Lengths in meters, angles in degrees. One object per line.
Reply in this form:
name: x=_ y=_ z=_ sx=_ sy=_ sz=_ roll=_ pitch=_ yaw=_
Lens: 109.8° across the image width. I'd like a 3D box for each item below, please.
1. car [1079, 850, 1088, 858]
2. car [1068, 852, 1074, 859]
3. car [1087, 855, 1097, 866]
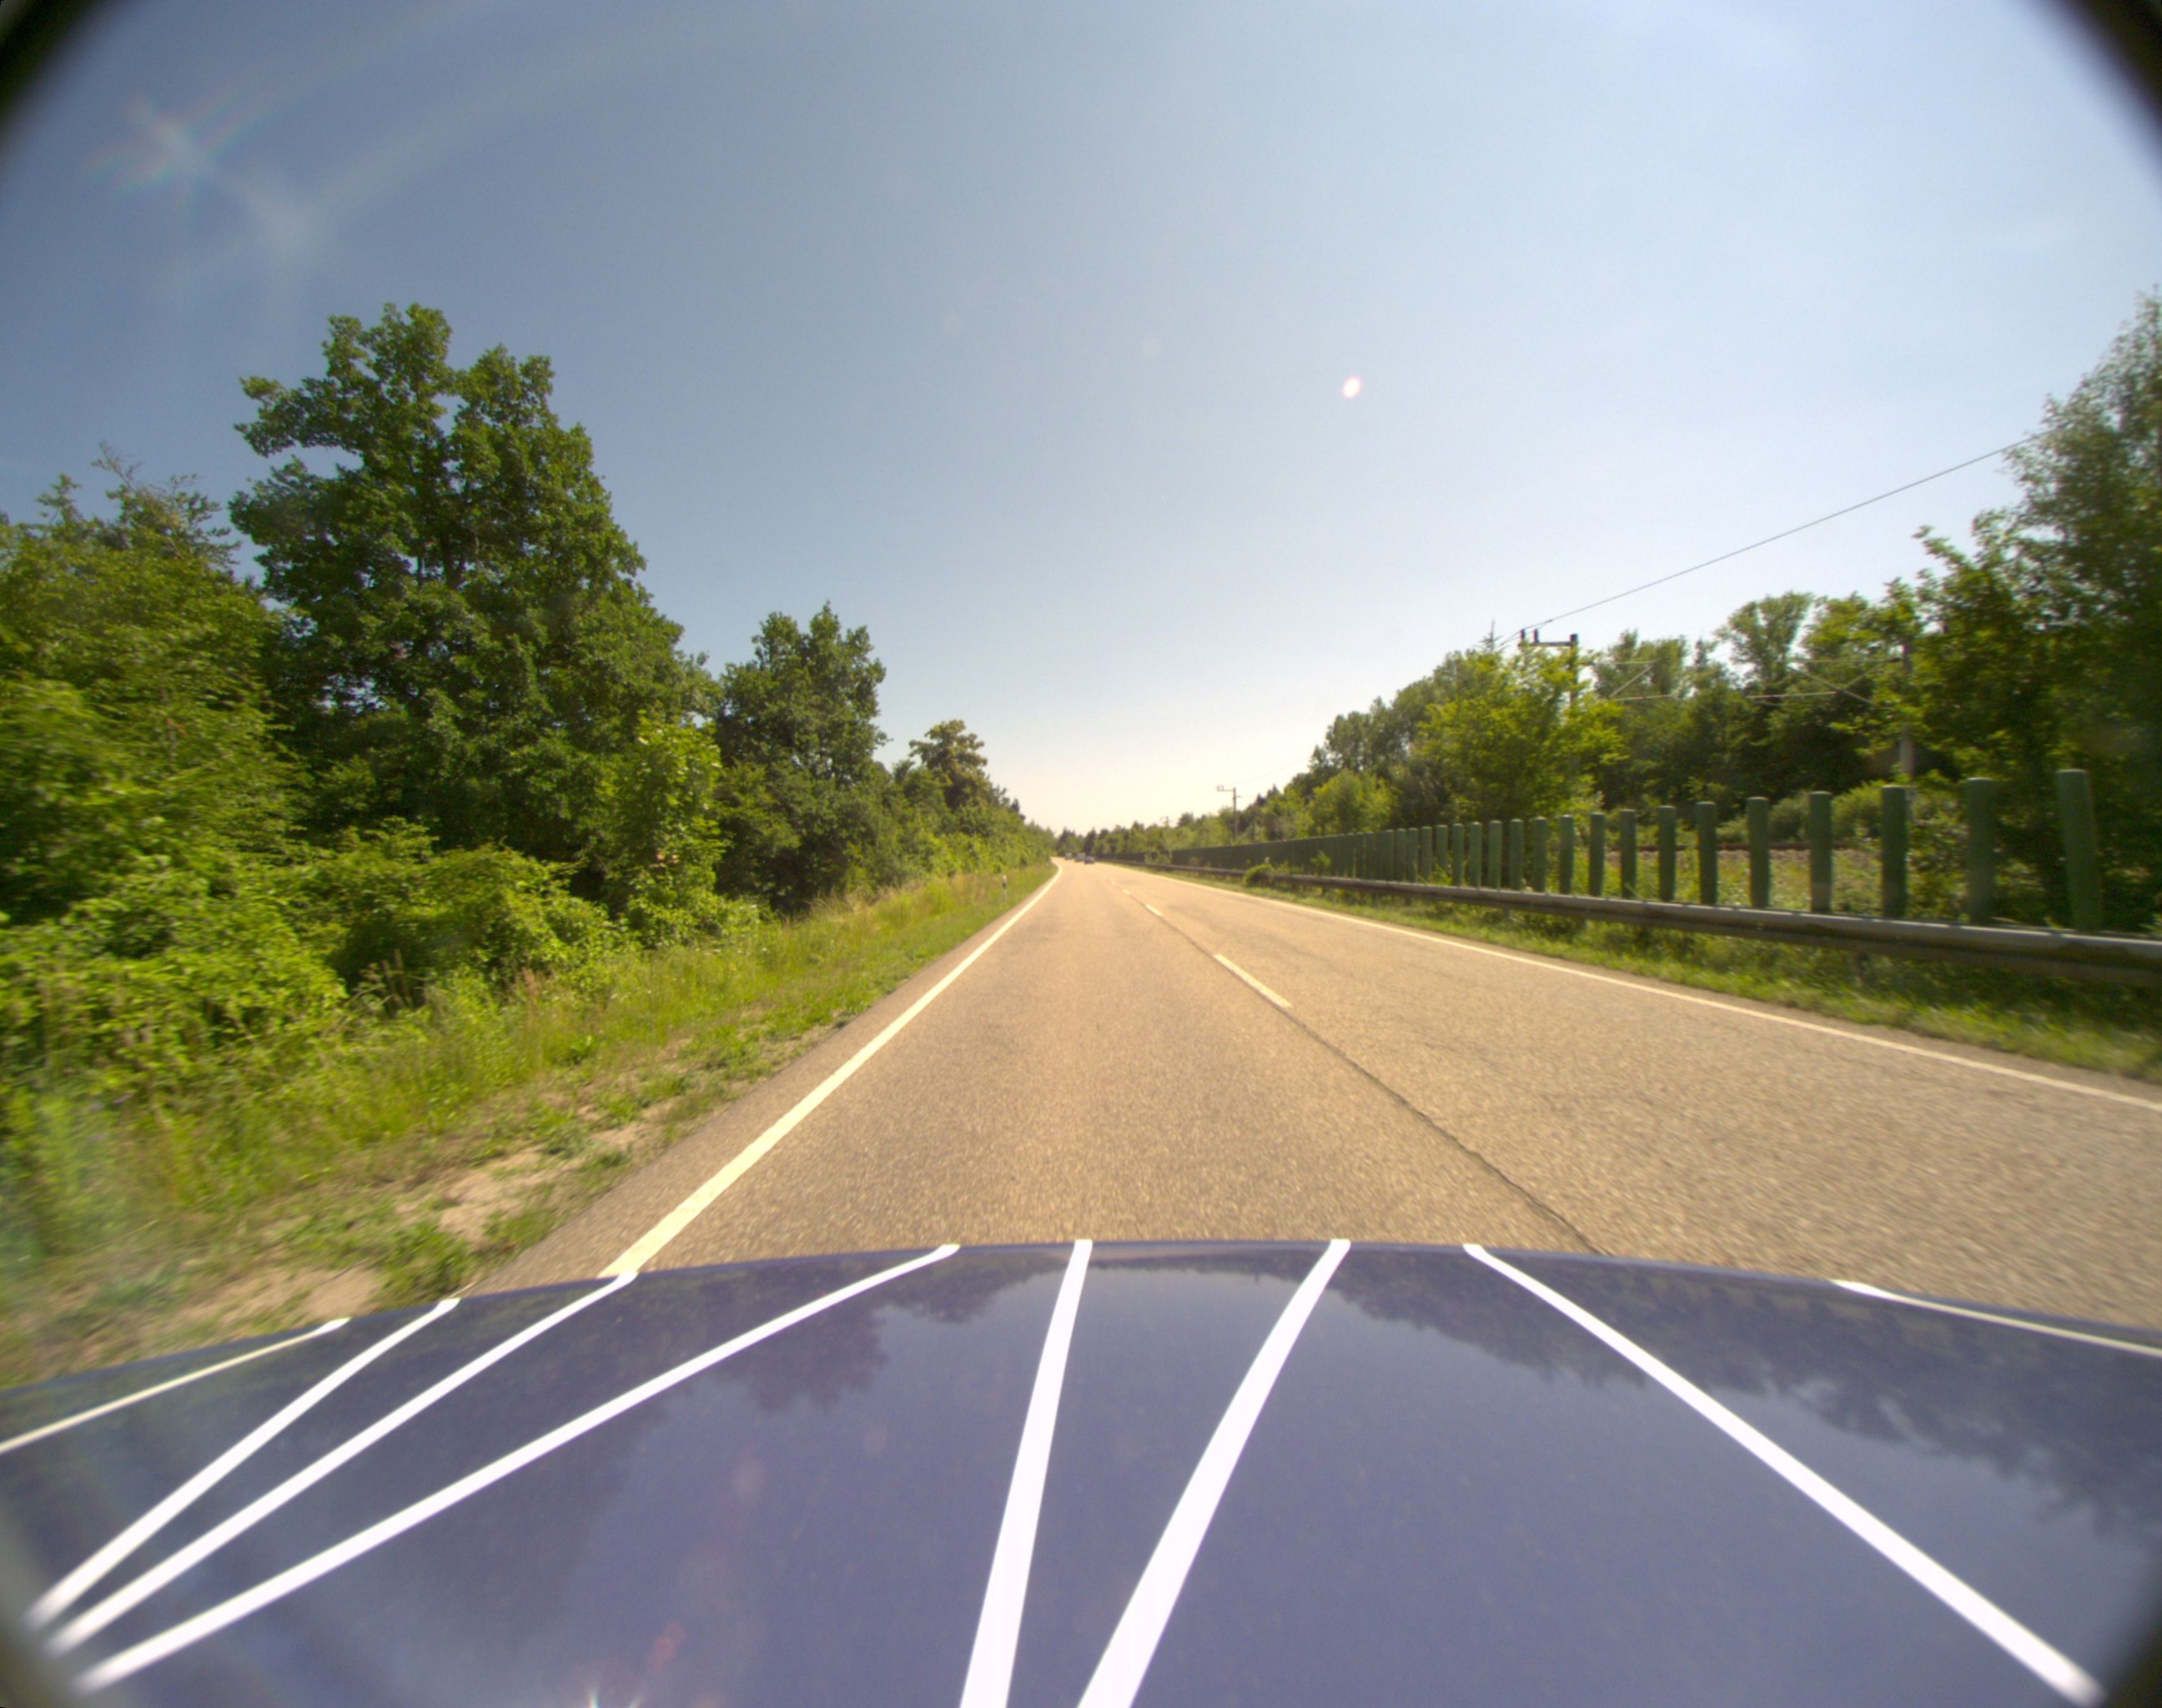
car: x=0.652 y=-0.013 z=173.942 sx=1.761 sy=1.874 sz=4.533 roll=-2 pitch=1 yaw=-2
car: x=-2.930 y=0.510 z=221.296 sx=1.762 sy=1.874 sz=4.533 roll=-2 pitch=1 yaw=-3
car: x=1.961 y=1.185 z=141.521 sx=1.761 sy=1.874 sz=4.534 roll=-2 pitch=1 yaw=1
